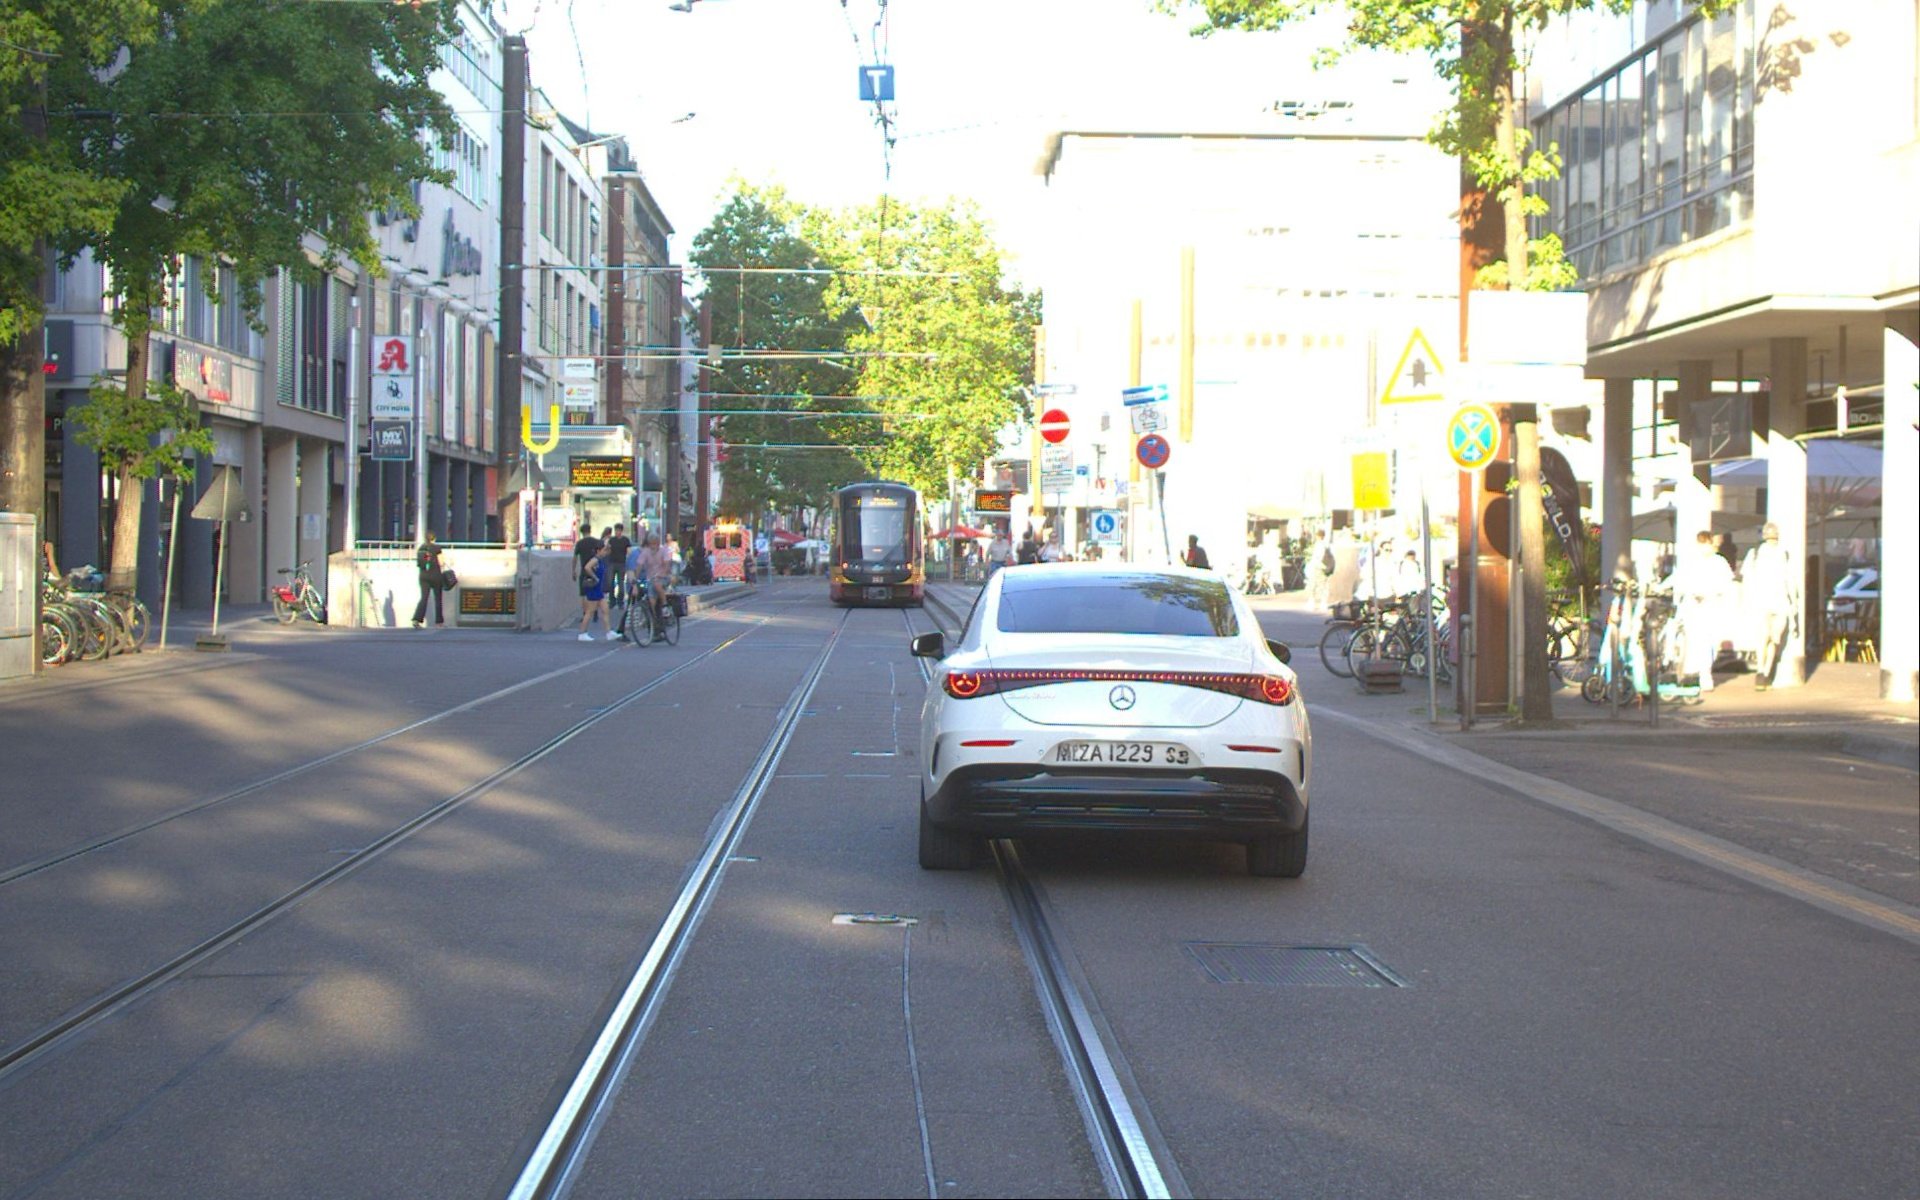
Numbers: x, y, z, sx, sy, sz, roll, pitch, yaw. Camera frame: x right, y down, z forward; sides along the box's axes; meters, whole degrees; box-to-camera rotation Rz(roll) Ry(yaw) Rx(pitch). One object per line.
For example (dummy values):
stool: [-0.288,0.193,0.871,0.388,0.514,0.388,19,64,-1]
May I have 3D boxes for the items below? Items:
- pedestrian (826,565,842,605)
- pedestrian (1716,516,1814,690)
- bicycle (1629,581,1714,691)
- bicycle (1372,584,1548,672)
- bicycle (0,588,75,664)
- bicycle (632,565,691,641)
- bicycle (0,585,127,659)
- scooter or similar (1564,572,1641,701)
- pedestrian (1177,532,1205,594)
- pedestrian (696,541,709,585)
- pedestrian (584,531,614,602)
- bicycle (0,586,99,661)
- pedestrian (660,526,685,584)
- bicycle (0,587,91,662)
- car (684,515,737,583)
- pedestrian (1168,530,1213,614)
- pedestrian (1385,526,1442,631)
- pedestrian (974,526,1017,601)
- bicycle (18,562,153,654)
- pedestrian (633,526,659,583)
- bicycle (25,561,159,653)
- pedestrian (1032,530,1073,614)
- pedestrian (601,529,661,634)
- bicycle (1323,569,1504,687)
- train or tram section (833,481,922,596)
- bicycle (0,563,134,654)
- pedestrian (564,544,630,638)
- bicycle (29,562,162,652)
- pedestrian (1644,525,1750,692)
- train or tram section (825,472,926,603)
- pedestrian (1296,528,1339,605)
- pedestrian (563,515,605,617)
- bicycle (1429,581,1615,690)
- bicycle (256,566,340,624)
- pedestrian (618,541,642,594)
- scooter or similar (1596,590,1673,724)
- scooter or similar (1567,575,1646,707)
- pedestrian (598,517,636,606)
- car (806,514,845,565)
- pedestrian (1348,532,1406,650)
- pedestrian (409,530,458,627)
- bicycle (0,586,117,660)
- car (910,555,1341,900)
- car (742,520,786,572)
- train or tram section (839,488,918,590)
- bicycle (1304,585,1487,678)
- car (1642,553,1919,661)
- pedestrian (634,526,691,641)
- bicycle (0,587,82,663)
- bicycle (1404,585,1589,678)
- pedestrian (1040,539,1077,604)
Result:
pedestrian: [-5.169,-0.634,141.209,0.604,1.624,0.531,0,1,-1]
pedestrian: [8.600,0.026,36.756,0.701,1.806,1.033,-3,1,-1]
bicycle: [7.639,0.371,36.956,0.564,1.124,1.929,-1,1,2]
bicycle: [6.312,0.351,43.399,2.113,1.092,0.610,0,1,-12]
bicycle: [-10.367,0.267,37.134,1.492,0.780,0.344,2,1,0]
bicycle: [-4.730,0.038,54.574,0.800,1.138,2.257,2,1,-3]
bicycle: [-10.232,0.243,38.943,1.492,0.780,0.344,2,1,0]
scooter or similar: [6.465,0.358,34.603,0.527,1.273,0.660,-1,1,-12]
pedestrian: [6.664,-1.069,99.098,0.727,1.779,0.707,1,1,-2]
pedestrian: [-9.403,-1.351,125.639,0.414,1.624,0.606,0,1,-1]
pedestrian: [-7.858,-0.730,74.783,0.615,1.539,0.651,1,1,-3]
bicycle: [-10.372,0.250,38.209,1.492,0.780,0.344,2,1,0]
pedestrian: [-8.045,-1.265,96.195,0.660,1.593,0.573,1,1,-2]
bicycle: [-10.374,0.256,37.849,1.492,0.780,0.344,2,1,0]
car: [-10.850,-2.212,149.662,1.993,2.887,5.275,0,1,-1]
pedestrian: [4.610,-0.555,68.710,0.838,1.656,0.785,1,1,1]
pedestrian: [7.846,-0.379,59.550,0.840,1.779,0.804,-1,1,-1]
pedestrian: [0.859,-0.888,83.345,0.960,1.779,0.804,-1,1,-1]
bicycle: [-10.253,0.090,40.338,1.492,1.025,0.345,2,1,-11]
pedestrian: [-8.780,-1.277,96.107,0.660,1.593,0.573,1,1,-2]
bicycle: [-10.272,0.084,40.712,1.492,1.025,0.345,2,1,-11]
pedestrian: [1.878,-0.569,69.908,0.746,1.693,0.840,1,1,-4]
pedestrian: [-5.397,-0.311,56.470,0.905,1.693,0.849,1,1,0]
bicycle: [5.126,0.309,38.866,1.907,1.277,0.610,-1,1,-12]
train or tram section: [-2.672,-1.998,111.855,2.694,3.504,12.546,0,1,-1]
bicycle: [-10.378,0.098,39.898,1.492,1.006,0.345,2,1,-11]
pedestrian: [-5.879,-0.155,55.700,0.955,1.491,0.944,1,1,0]
bicycle: [-10.326,0.081,41.084,1.492,1.025,0.345,2,1,-11]
pedestrian: [7.925,0.090,36.998,0.899,1.739,0.690,-3,1,-1]
train or tram section: [-2.417,-1.790,99.305,2.694,3.504,12.546,0,1,-1]
pedestrian: [7.874,-0.743,75.785,0.817,1.679,0.804,-1,1,-1]
pedestrian: [-7.115,-0.652,65.080,0.540,1.922,0.571,1,1,43]
bicycle: [6.198,0.386,37.930,1.907,1.152,0.610,-1,1,-12]
bicycle: [-11.839,-0.103,61.515,0.719,1.006,2.038,1,1,13]
pedestrian: [-10.076,-1.000,104.949,0.660,1.593,0.573,1,1,-2]
scooter or similar: [6.540,0.547,33.348,0.491,1.273,0.660,-1,1,-12]
scooter or similar: [6.386,0.397,33.978,0.527,1.273,0.660,-1,1,-12]
pedestrian: [-6.815,-0.770,68.373,0.550,1.754,0.520,1,1,27]
car: [-7.833,-3.533,200.530,2.099,2.887,5.275,0,1,-1]
pedestrian: [6.379,-0.144,52.601,0.748,1.779,0.767,-1,1,-2]
pedestrian: [-9.357,-0.380,61.046,0.837,1.711,0.785,0,1,-10]
bicycle: [-10.257,0.254,38.573,1.492,0.780,0.344,2,1,0]
car: [0.700,0.535,17.206,1.857,1.450,4.175,2,1,-1]
car: [-9.568,-2.649,168.464,1.910,2.452,5.275,0,1,-1]
train or tram section: [-2.919,-2.190,123.693,2.694,3.504,11.144,0,1,-1]
bicycle: [5.302,0.386,41.855,2.113,1.092,0.610,1,0,-12]
car: [11.653,0.088,48.125,3.801,1.468,1.649,0,1,-6]
pedestrian: [-4.716,-0.271,54.526,0.800,1.776,0.849,2,1,-2]
bicycle: [-10.372,0.261,37.490,1.492,0.780,0.344,2,1,0]
bicycle: [6.430,0.376,41.202,2.113,1.092,0.610,0,1,-14]
pedestrian: [2.742,-0.803,95.841,0.960,1.779,0.804,-1,1,-1]
